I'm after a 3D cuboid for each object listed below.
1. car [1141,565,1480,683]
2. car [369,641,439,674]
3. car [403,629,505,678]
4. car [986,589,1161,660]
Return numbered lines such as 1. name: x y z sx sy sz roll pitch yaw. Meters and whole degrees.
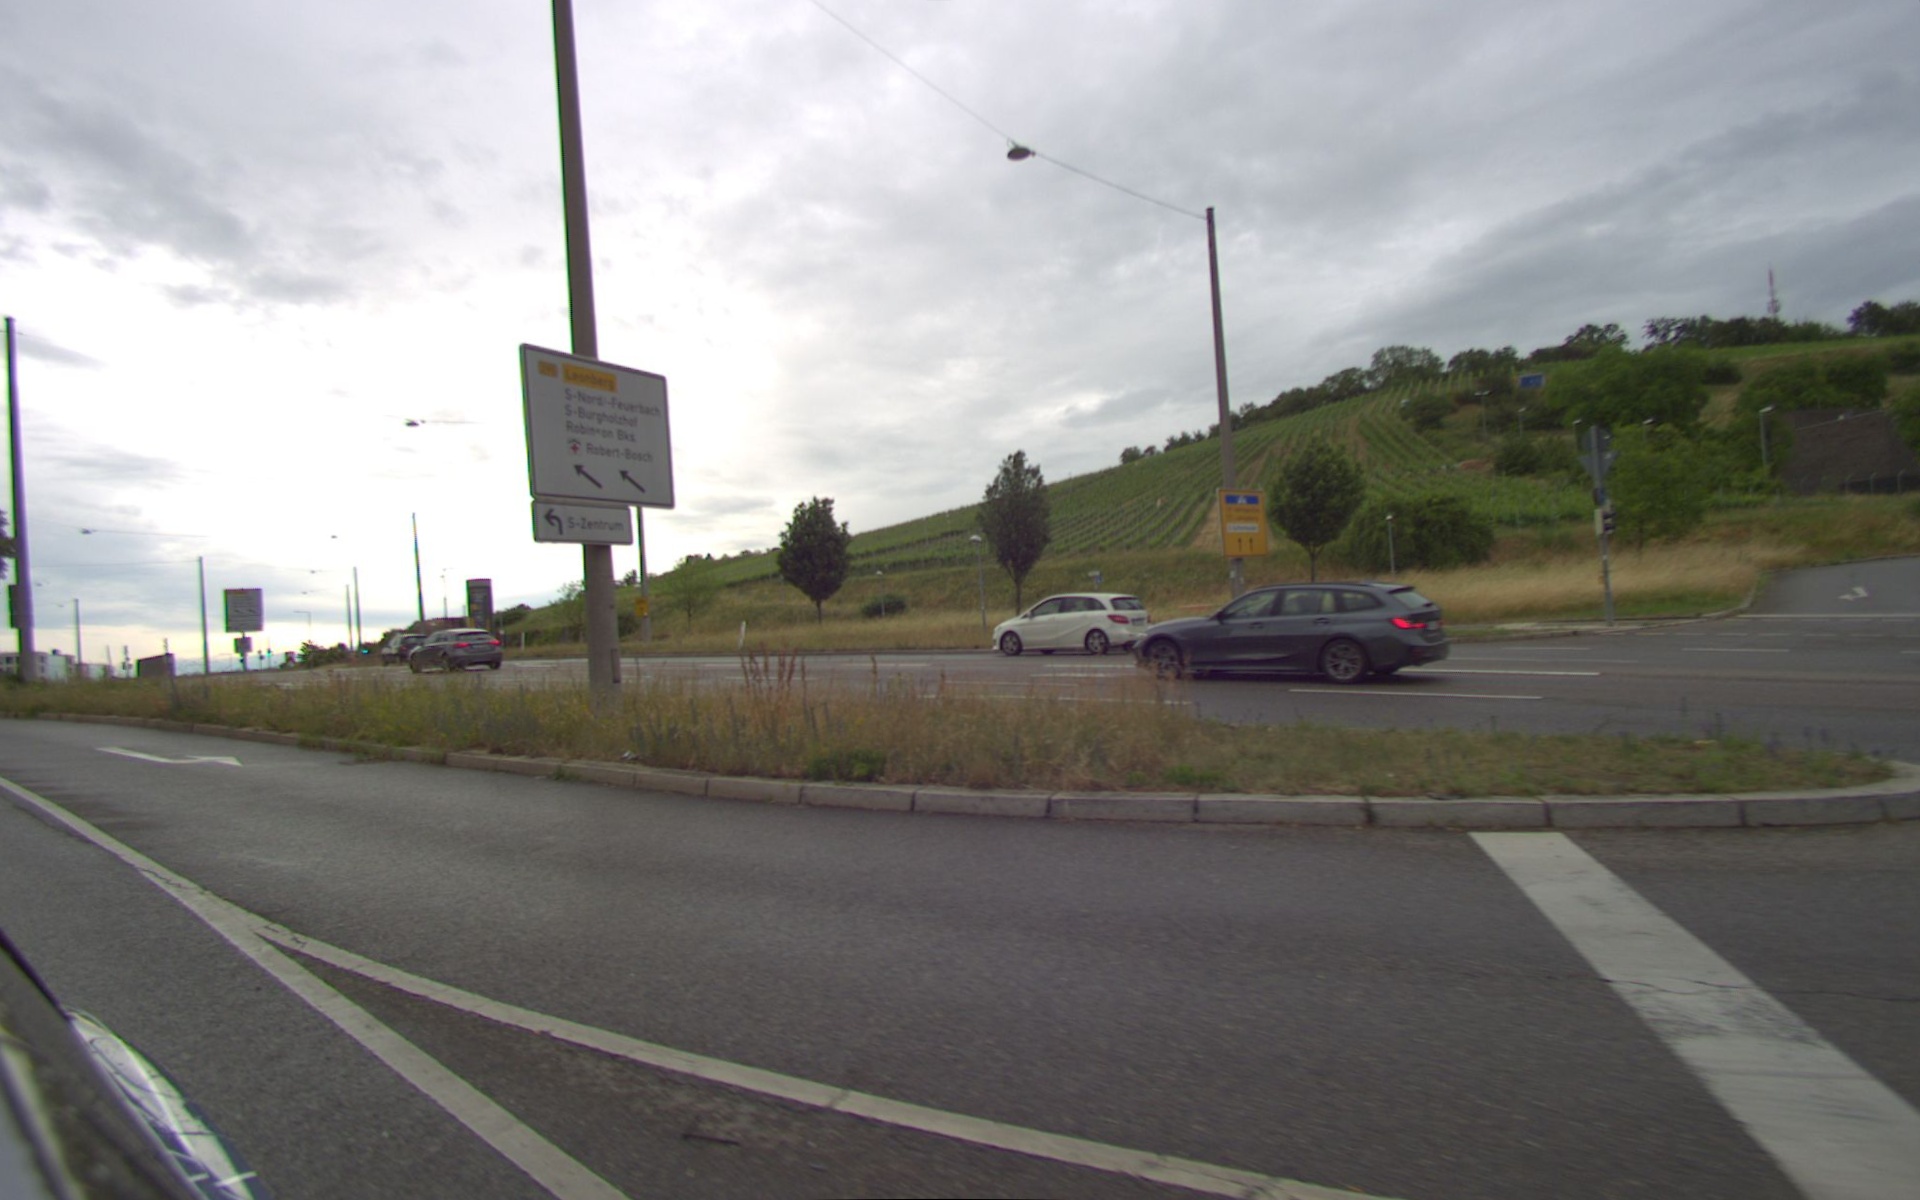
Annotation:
1. car: 5.117 0.354 15.166 4.461 1.515 1.733 -2 0 41
2. car: -27.291 2.792 49.622 3.999 1.394 1.749 -1 0 42
3. car: -17.507 1.861 34.933 3.998 1.529 1.749 -4 -1 42
4. car: 2.839 0.608 25.862 4.176 1.660 1.749 -1 0 42
